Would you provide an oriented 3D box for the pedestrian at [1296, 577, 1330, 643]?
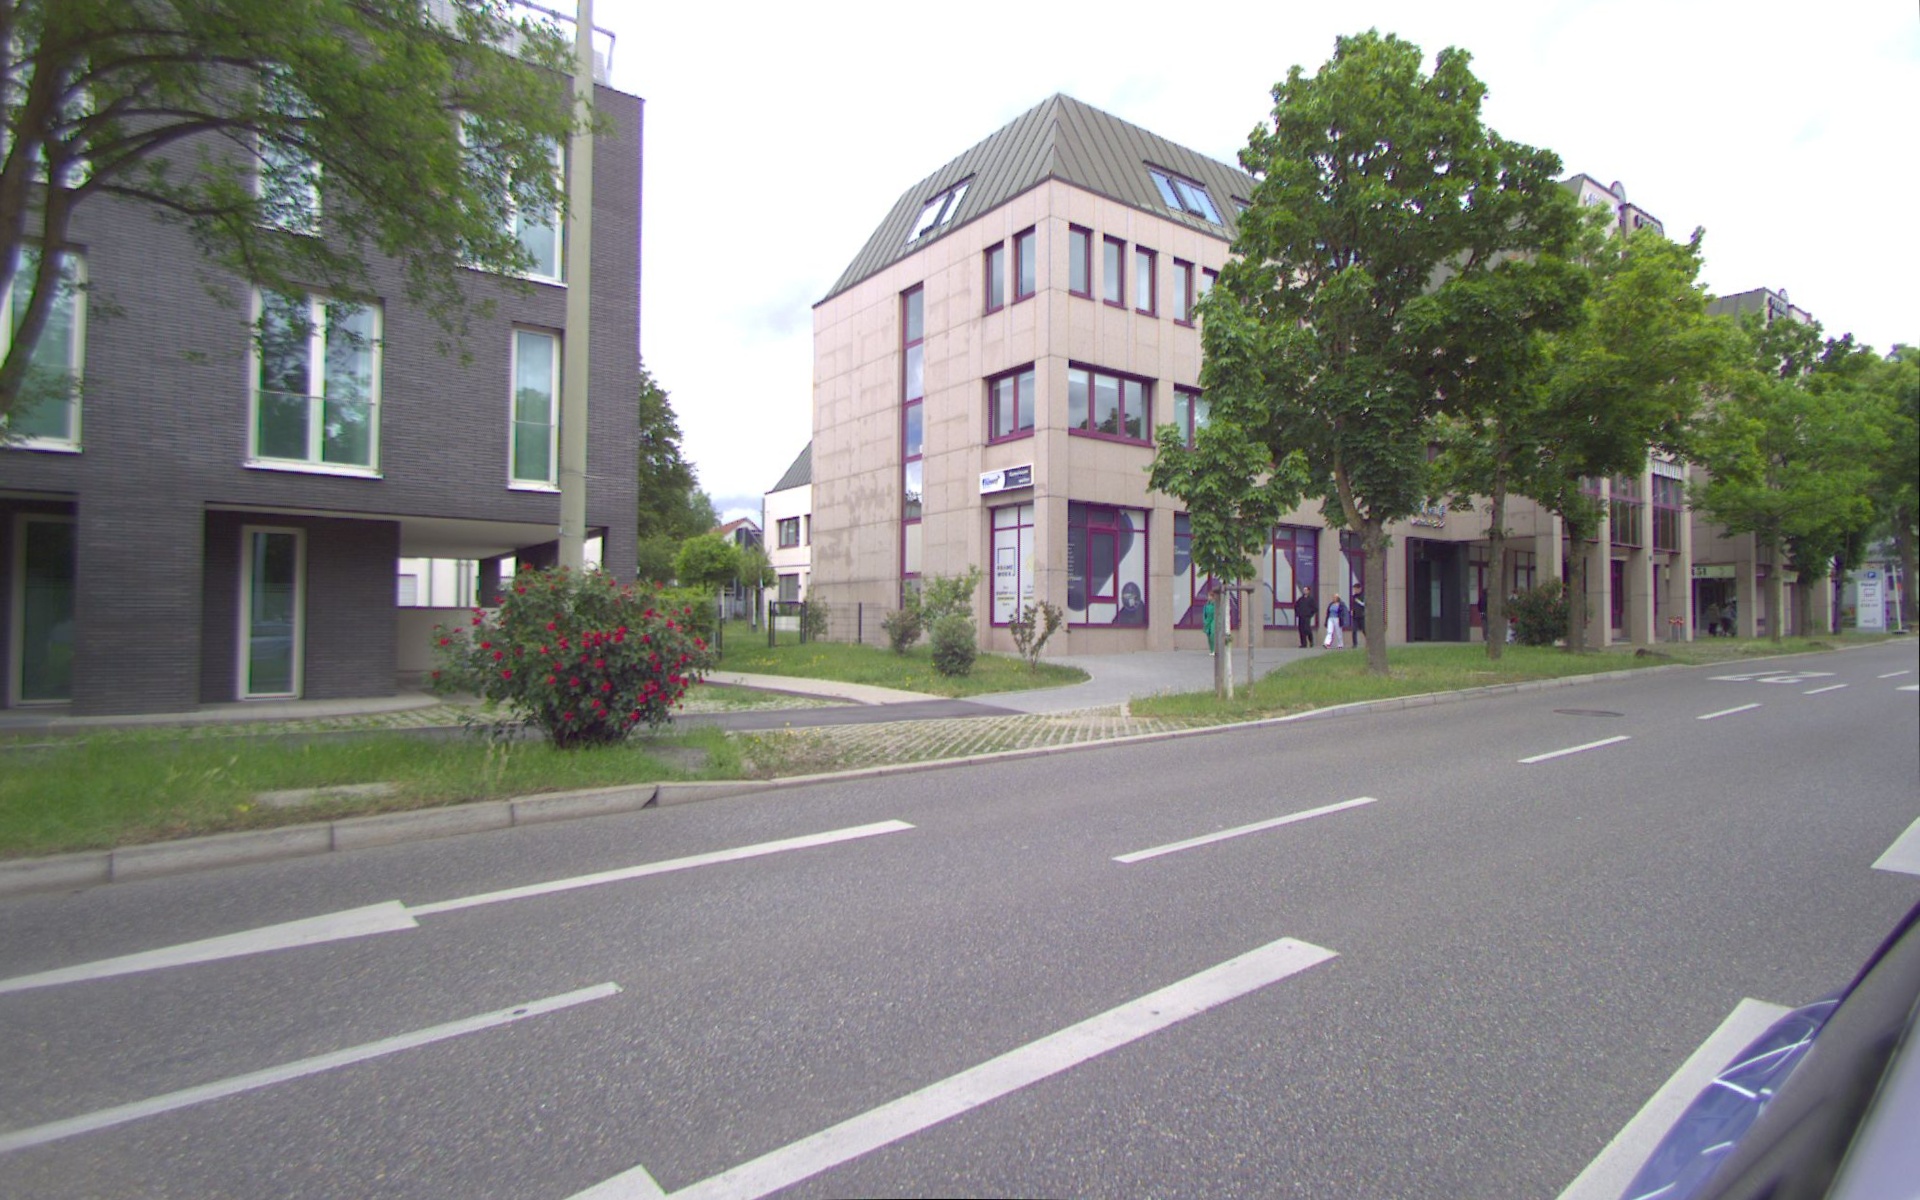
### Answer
[{"bbox_3d":[9.987,0.275,28.636,0.665,1.828,0.642,0,-1,-41],"label":"pedestrian"}]

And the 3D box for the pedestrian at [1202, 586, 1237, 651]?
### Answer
[{"bbox_3d":[6.263,0.431,24.420,0.665,1.537,0.496,0,2,-41],"label":"pedestrian"}]

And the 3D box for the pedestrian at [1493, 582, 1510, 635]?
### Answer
[{"bbox_3d":[17.713,0.272,33.119,0.349,1.715,0.380,0,-1,-38],"label":"pedestrian"}]

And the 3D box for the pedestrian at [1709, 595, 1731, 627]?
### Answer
[{"bbox_3d":[33.818,0.494,45.016,0.510,1.422,0.667,0,0,-39],"label":"pedestrian"}]

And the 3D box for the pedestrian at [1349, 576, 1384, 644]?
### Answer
[{"bbox_3d":[11.116,0.279,27.645,0.665,1.828,0.642,0,-1,-41],"label":"pedestrian"}]

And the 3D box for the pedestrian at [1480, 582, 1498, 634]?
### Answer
[{"bbox_3d":[17.475,0.270,33.418,0.393,1.715,0.400,0,-1,-38],"label":"pedestrian"}]

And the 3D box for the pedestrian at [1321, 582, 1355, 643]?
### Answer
[{"bbox_3d":[10.516,0.344,28.180,0.665,1.668,0.642,0,-1,-41],"label":"pedestrian"}]

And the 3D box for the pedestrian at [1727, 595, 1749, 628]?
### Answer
[{"bbox_3d":[33.985,0.501,44.196,0.629,1.422,0.607,0,0,-38],"label":"pedestrian"}]
